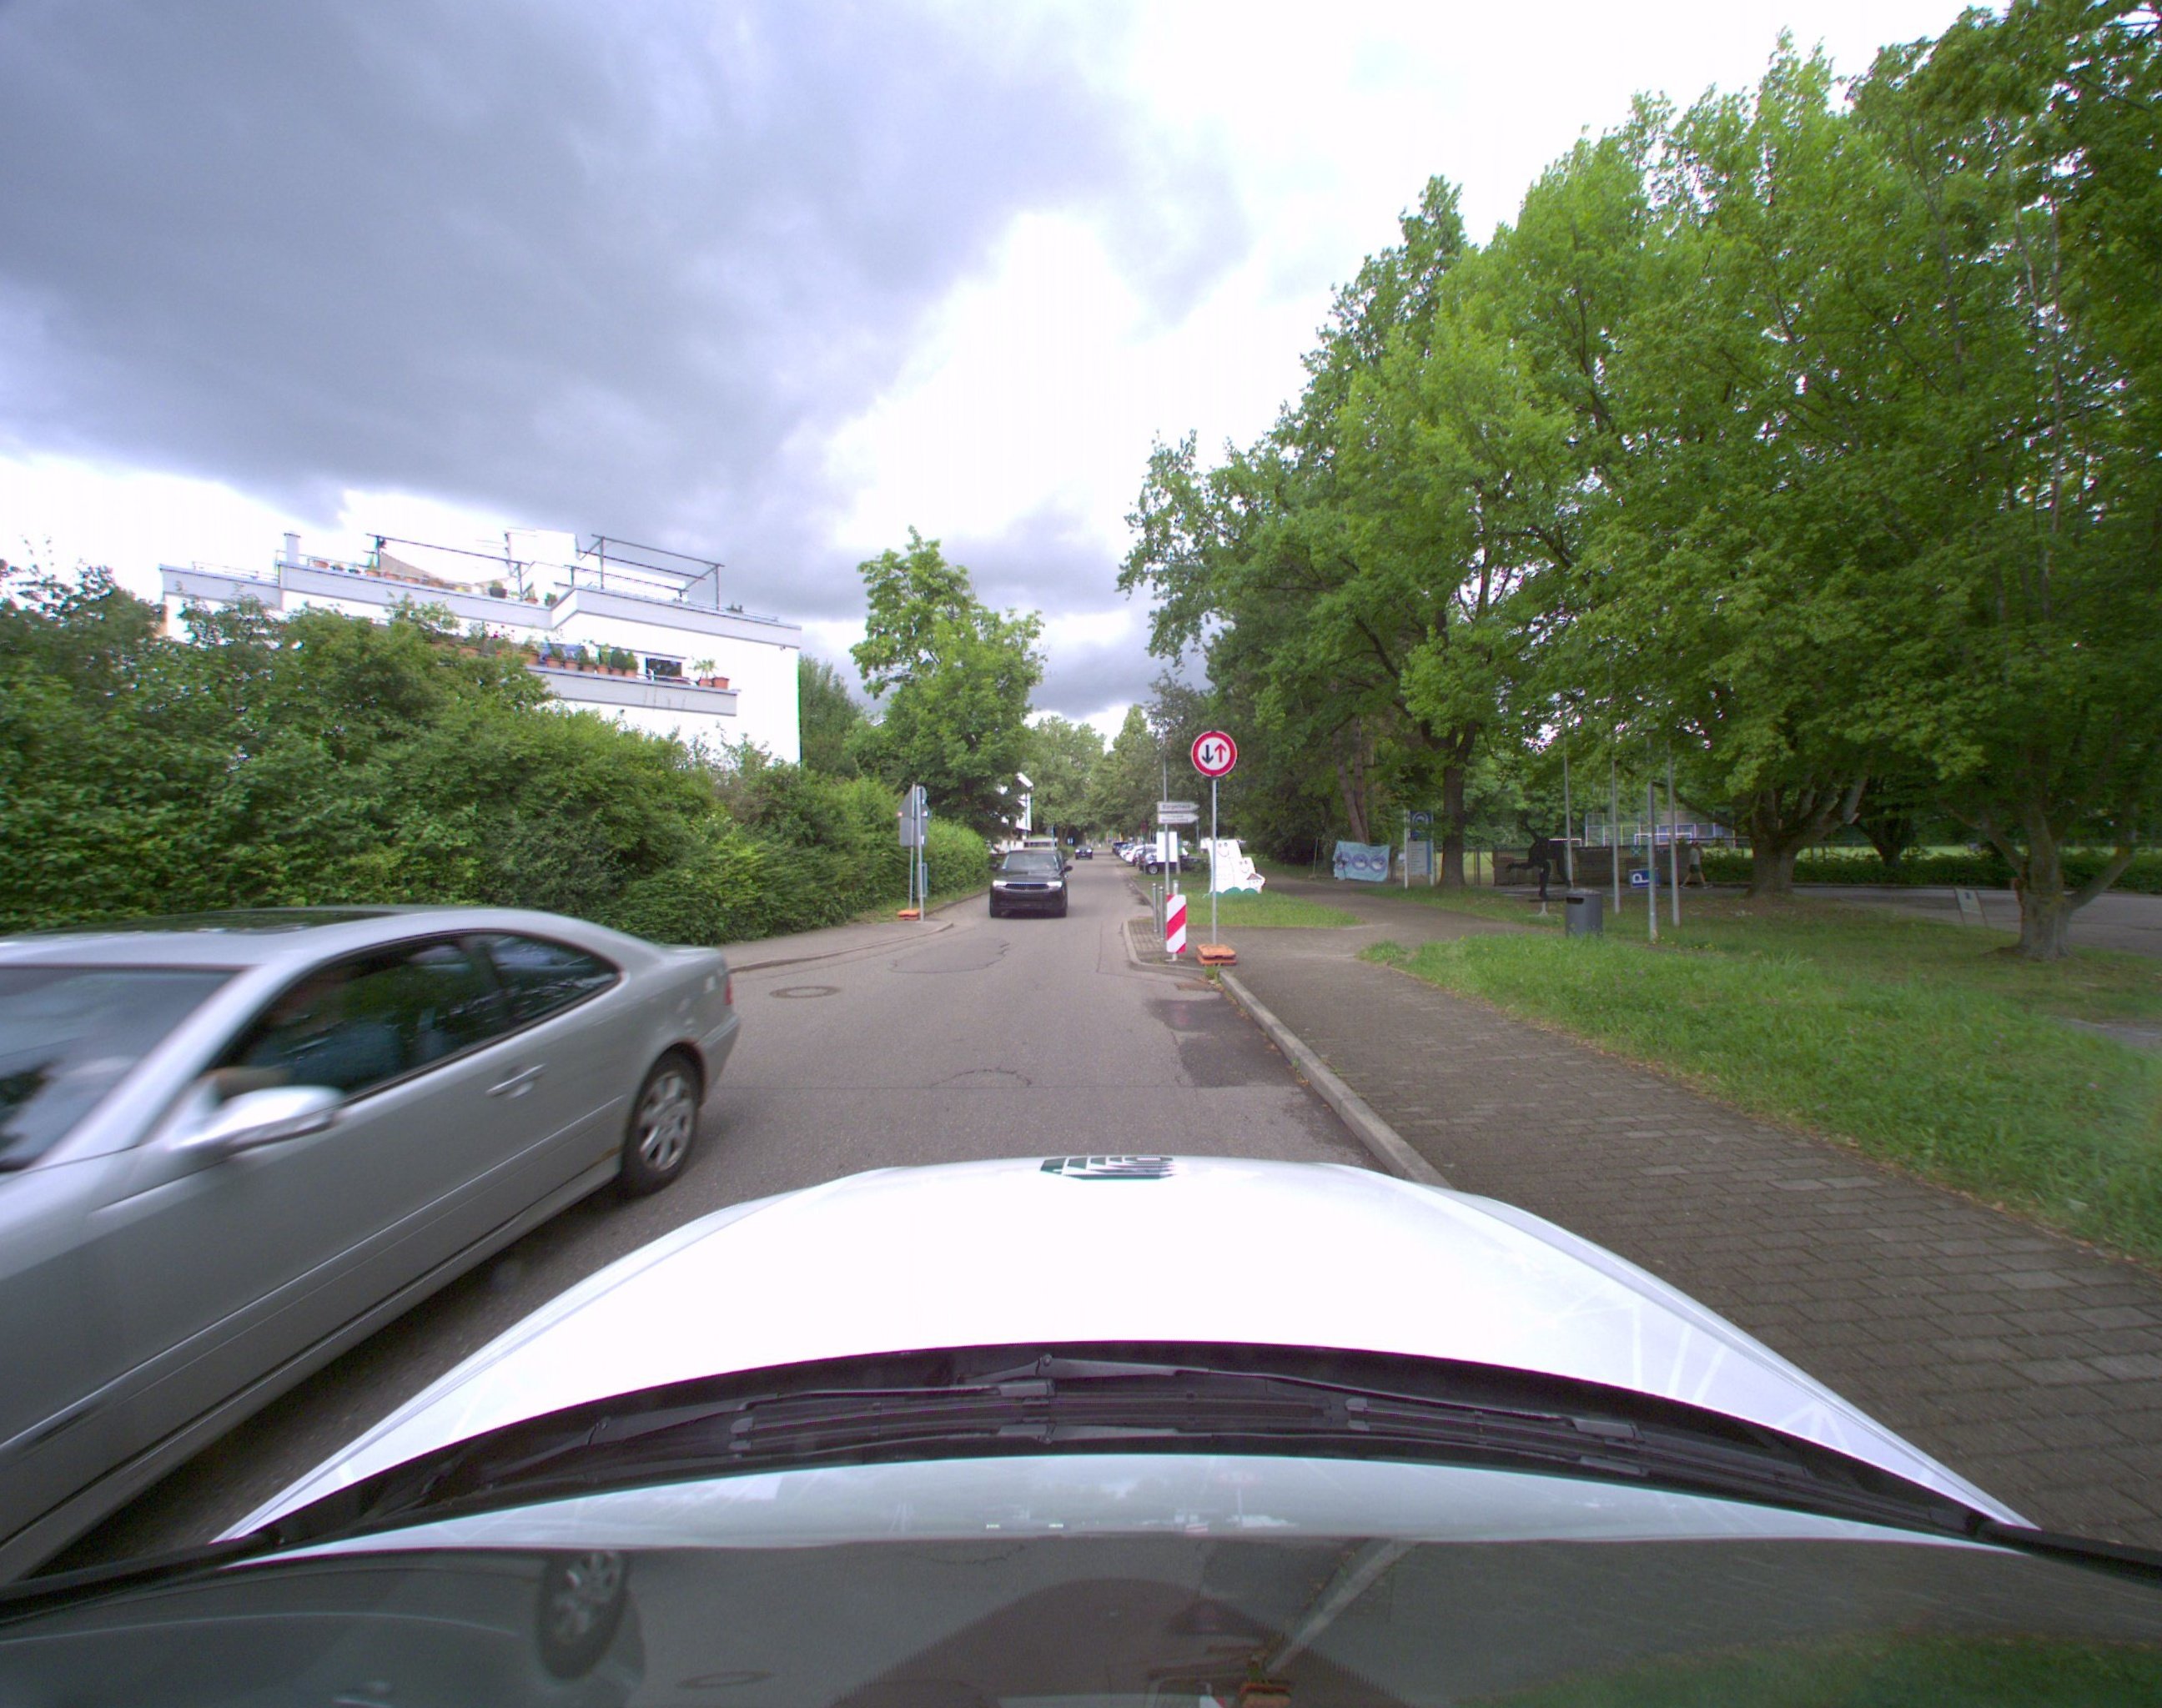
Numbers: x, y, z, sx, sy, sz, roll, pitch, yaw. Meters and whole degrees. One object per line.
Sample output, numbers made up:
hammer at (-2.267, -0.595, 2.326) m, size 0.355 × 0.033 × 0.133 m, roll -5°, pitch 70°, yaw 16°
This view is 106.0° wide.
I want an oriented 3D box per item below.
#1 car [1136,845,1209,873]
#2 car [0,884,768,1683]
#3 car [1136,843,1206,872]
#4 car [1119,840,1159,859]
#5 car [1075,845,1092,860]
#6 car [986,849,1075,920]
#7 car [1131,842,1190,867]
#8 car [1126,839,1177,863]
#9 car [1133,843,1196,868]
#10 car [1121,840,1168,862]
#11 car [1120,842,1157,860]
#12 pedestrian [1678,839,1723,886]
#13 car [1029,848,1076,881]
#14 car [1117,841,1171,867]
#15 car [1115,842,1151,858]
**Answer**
car at (5.360, 0.322, 47.983) m, size 4.049 × 1.434 × 2.000 m, roll -2°, pitch -1°, yaw 0°
car at (-2.810, 0.854, 2.621) m, size 1.774 × 1.306 × 4.298 m, roll -1°, pitch 0°, yaw 2°
car at (5.512, 0.223, 50.172) m, size 4.049 × 1.568 × 1.822 m, roll -2°, pitch -1°, yaw 0°
car at (6.339, -0.508, 89.210) m, size 4.053 × 1.687 × 1.821 m, roll -5°, pitch 0°, yaw -2°
car at (0.356, -0.209, 97.375) m, size 1.962 × 1.747 × 4.338 m, roll -1°, pitch 0°, yaw 1°
car at (-1.176, 0.677, 20.692) m, size 1.796 × 1.591 × 4.298 m, roll -1°, pitch 0°, yaw 2°
car at (5.885, 0.047, 60.361) m, size 4.053 × 1.488 × 1.821 m, roll -5°, pitch 0°, yaw -2°
car at (5.997, -0.269, 69.683) m, size 4.053 × 1.687 × 1.821 m, roll -5°, pitch 0°, yaw -2°
car at (5.669, 0.093, 55.652) m, size 4.049 × 1.568 × 1.823 m, roll -2°, pitch 0°, yaw 0°
car at (5.888, -0.298, 76.063) m, size 4.053 × 1.687 × 1.821 m, roll -5°, pitch 0°, yaw -2°
car at (6.696, -0.337, 95.093) m, size 4.053 × 1.687 × 1.821 m, roll -5°, pitch 0°, yaw -2°
pedestrian at (23.040, 0.308, 30.309) m, size 1.137 × 1.674 × 0.798 m, roll -3°, pitch -2°, yaw 27°
car at (-1.400, 0.508, 41.725) m, size 1.794 × 1.591 × 4.304 m, roll -1°, pitch 0°, yaw 6°
car at (5.079, -0.018, 65.698) m, size 4.053 × 1.687 × 1.821 m, roll -5°, pitch 0°, yaw -2°
car at (6.370, -0.511, 100.170) m, size 4.053 × 1.687 × 1.821 m, roll -5°, pitch 0°, yaw -2°
